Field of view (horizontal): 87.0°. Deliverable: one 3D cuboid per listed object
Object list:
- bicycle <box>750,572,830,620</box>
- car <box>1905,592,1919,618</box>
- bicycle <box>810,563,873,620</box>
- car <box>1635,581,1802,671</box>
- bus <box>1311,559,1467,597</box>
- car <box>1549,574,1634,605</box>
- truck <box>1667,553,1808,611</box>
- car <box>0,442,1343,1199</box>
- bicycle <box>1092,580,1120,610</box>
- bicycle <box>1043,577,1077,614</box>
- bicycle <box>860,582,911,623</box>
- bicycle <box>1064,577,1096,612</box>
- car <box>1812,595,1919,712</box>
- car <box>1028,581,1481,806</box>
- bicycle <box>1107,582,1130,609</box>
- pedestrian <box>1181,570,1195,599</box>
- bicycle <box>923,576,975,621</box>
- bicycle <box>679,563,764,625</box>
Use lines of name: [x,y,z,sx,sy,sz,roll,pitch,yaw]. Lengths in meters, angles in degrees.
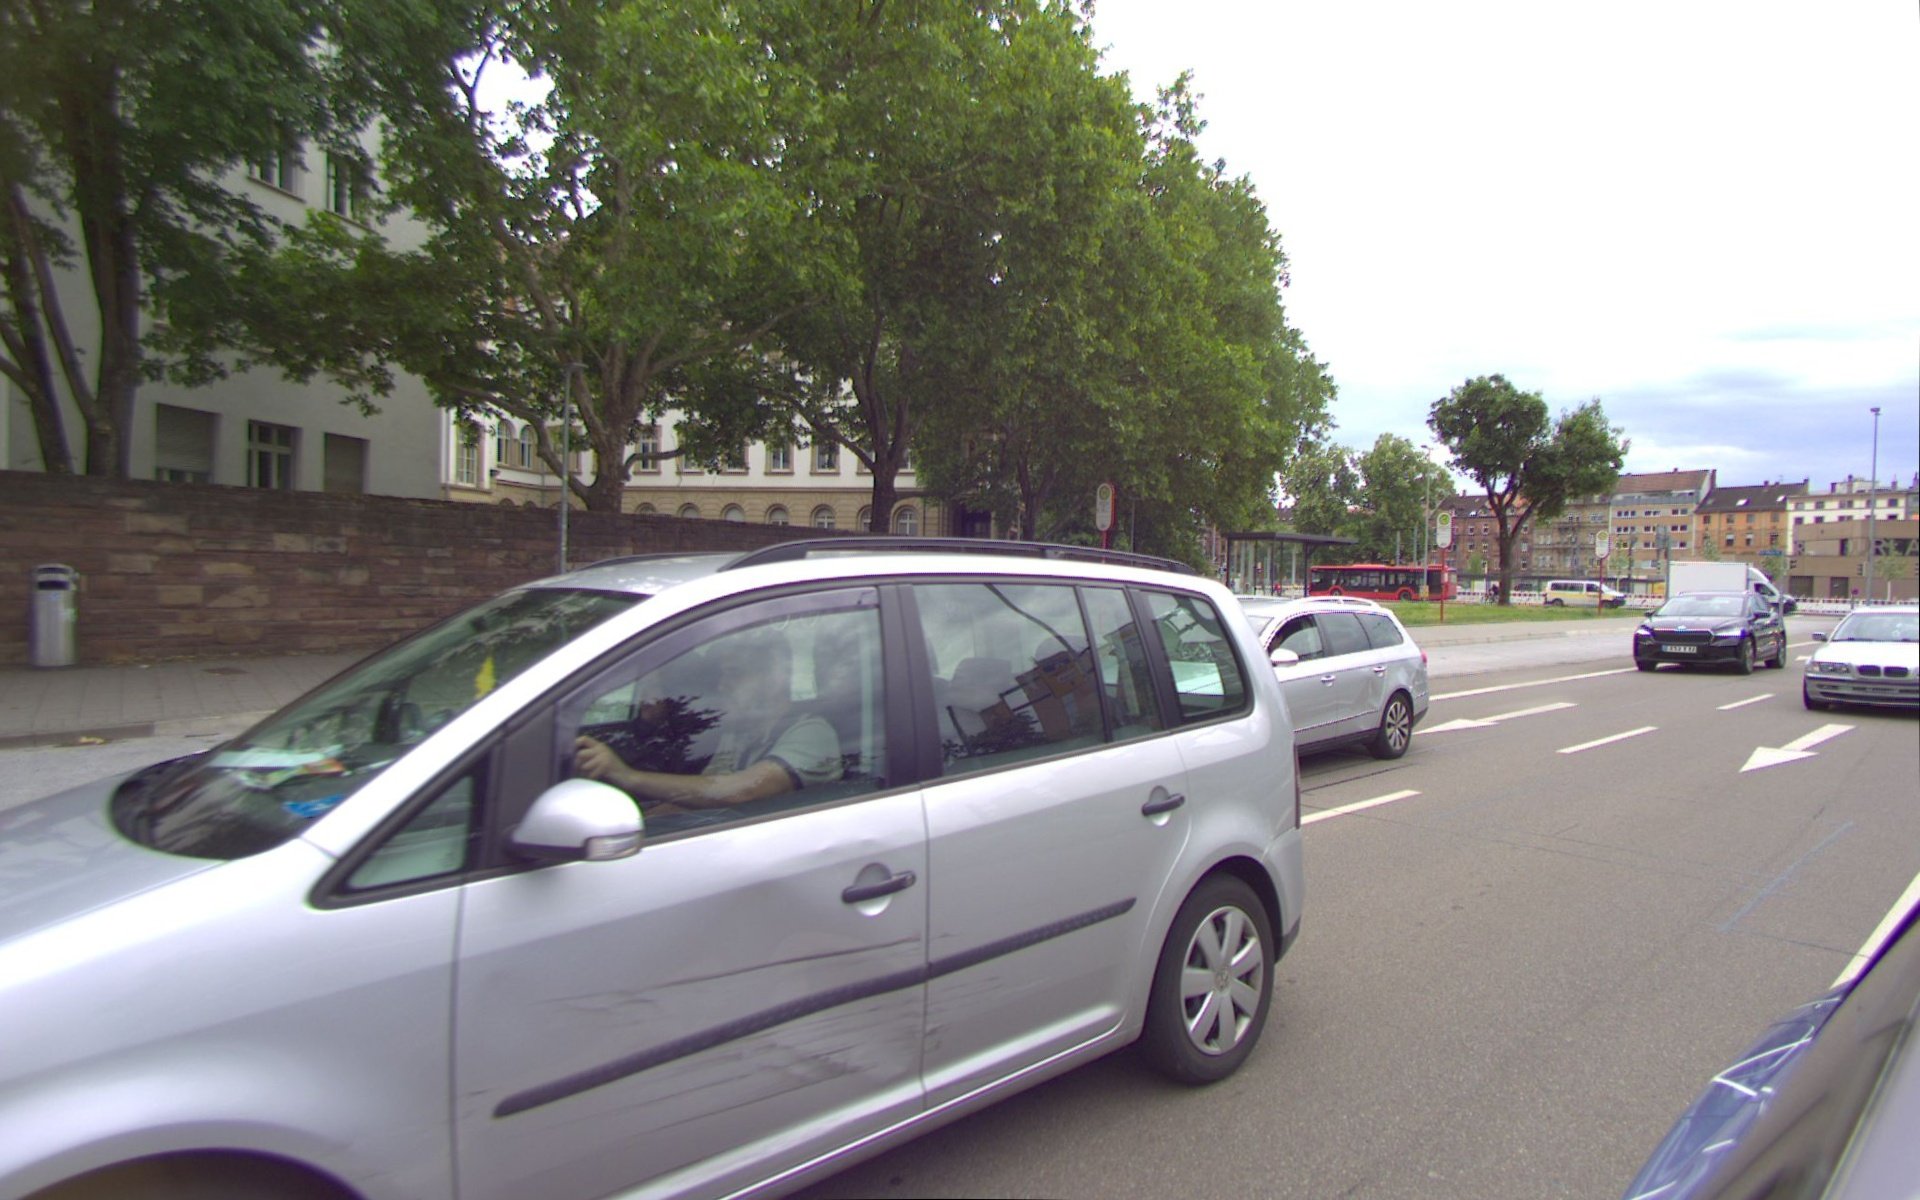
bicycle: [-3.587,-0.099,21.491,0.650,0.963,1.750,3,3,31]
car: [63.083,0.415,64.368,4.205,1.657,1.690,2,2,0]
bicycle: [-2.677,-0.197,23.052,0.497,1.236,1.609,3,2,31]
car: [15.548,0.450,20.652,4.413,1.645,1.910,0,0,-42]
bus: [36.100,-1.900,85.823,2.889,2.944,12.068,0,1,-44]
car: [43.756,-0.771,70.216,1.889,1.942,4.704,-4,4,-43]
truck: [49.308,-1.188,64.333,2.520,3.453,6.835,-2,3,-45]
car: [-0.784,0.591,2.795,4.033,1.623,1.732,0,1,-41]
bicycle: [5.575,-0.203,38.497,0.589,1.072,1.700,3,2,23]
bicycle: [3.363,-0.165,33.880,0.589,1.150,1.700,3,2,23]
bicycle: [-1.792,0.040,24.523,0.414,0.954,1.508,3,2,31]
bicycle: [4.204,-0.202,35.387,0.589,1.143,1.700,3,2,23]
car: [13.285,0.670,13.943,4.170,1.432,1.725,0,0,-41]
car: [2.899,0.644,9.442,4.446,1.570,1.829,-2,1,-38]
bicycle: [6.268,-0.193,40.064,0.544,1.004,1.626,3,2,20]
pedestrian: [14.584,-1.002,64.716,0.745,1.756,0.821,3,2,10]
bicycle: [-0.273,-0.062,26.367,0.593,1.118,1.638,3,2,29]
bicycle: [-4.620,-0.136,19.723,0.712,1.113,1.780,3,2,20]
